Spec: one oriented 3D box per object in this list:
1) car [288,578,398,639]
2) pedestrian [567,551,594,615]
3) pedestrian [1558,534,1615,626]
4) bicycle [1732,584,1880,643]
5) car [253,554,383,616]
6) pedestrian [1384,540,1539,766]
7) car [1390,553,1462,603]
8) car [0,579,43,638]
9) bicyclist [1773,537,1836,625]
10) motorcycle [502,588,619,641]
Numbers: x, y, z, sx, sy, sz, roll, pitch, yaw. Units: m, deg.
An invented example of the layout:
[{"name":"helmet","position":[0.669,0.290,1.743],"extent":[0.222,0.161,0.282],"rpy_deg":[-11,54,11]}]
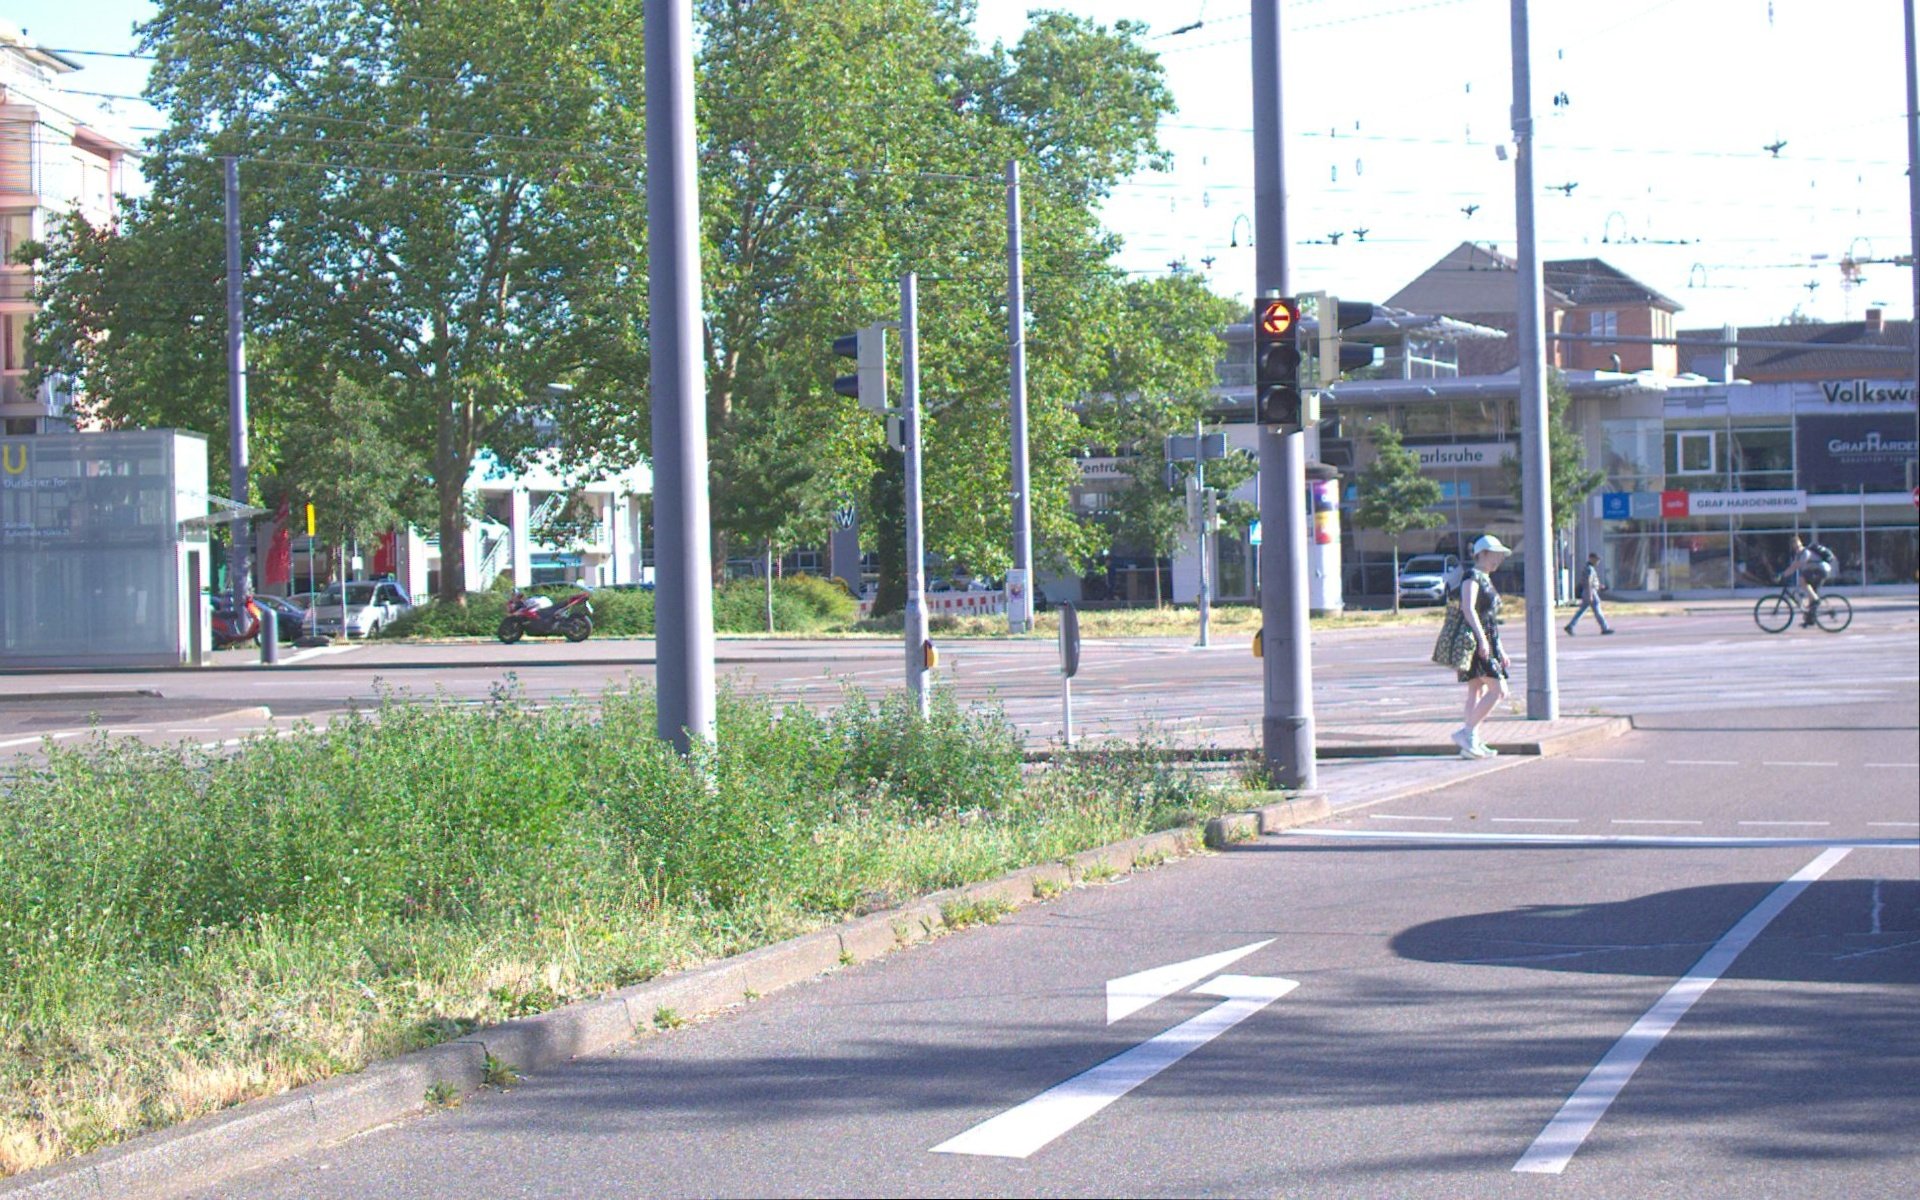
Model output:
[{"name":"car","position":[-15.508,0.199,86.538],"extent":[1.847,1.447,4.000],"rpy_deg":[-1,1,3]},{"name":"pedestrian","position":[-12.061,-0.538,109.225],"extent":[0.589,2.007,0.710],"rpy_deg":[-1,0,19]},{"name":"pedestrian","position":[12.462,-0.402,68.367],"extent":[0.990,1.810,0.919],"rpy_deg":[0,2,18]},{"name":"bicycle","position":[15.227,0.233,61.892],"extent":[2.438,1.000,0.963],"rpy_deg":[-1,0,4]},{"name":"car","position":[-20.939,-0.500,112.092],"extent":[3.986,1.851,1.854],"rpy_deg":[-1,2,-16]},{"name":"pedestrian","position":[3.658,0.381,25.050],"extent":[1.093,1.601,0.698],"rpy_deg":[0,2,9]},{"name":"car","position":[15.758,-0.748,116.109],"extent":[1.995,1.529,3.998],"rpy_deg":[0,2,13]},{"name":"car","position":[-24.892,0.241,84.946],"extent":[3.986,1.417,1.813],"rpy_deg":[-1,0,-3]},{"name":"bicyclist","position":[15.203,-0.343,61.885],"extent":[0.923,1.554,0.963],"rpy_deg":[-1,0,4]},{"name":"motorcycle","position":[-8.293,0.309,71.408],"extent":[2.285,1.050,0.687],"rpy_deg":[0,2,6]}]
